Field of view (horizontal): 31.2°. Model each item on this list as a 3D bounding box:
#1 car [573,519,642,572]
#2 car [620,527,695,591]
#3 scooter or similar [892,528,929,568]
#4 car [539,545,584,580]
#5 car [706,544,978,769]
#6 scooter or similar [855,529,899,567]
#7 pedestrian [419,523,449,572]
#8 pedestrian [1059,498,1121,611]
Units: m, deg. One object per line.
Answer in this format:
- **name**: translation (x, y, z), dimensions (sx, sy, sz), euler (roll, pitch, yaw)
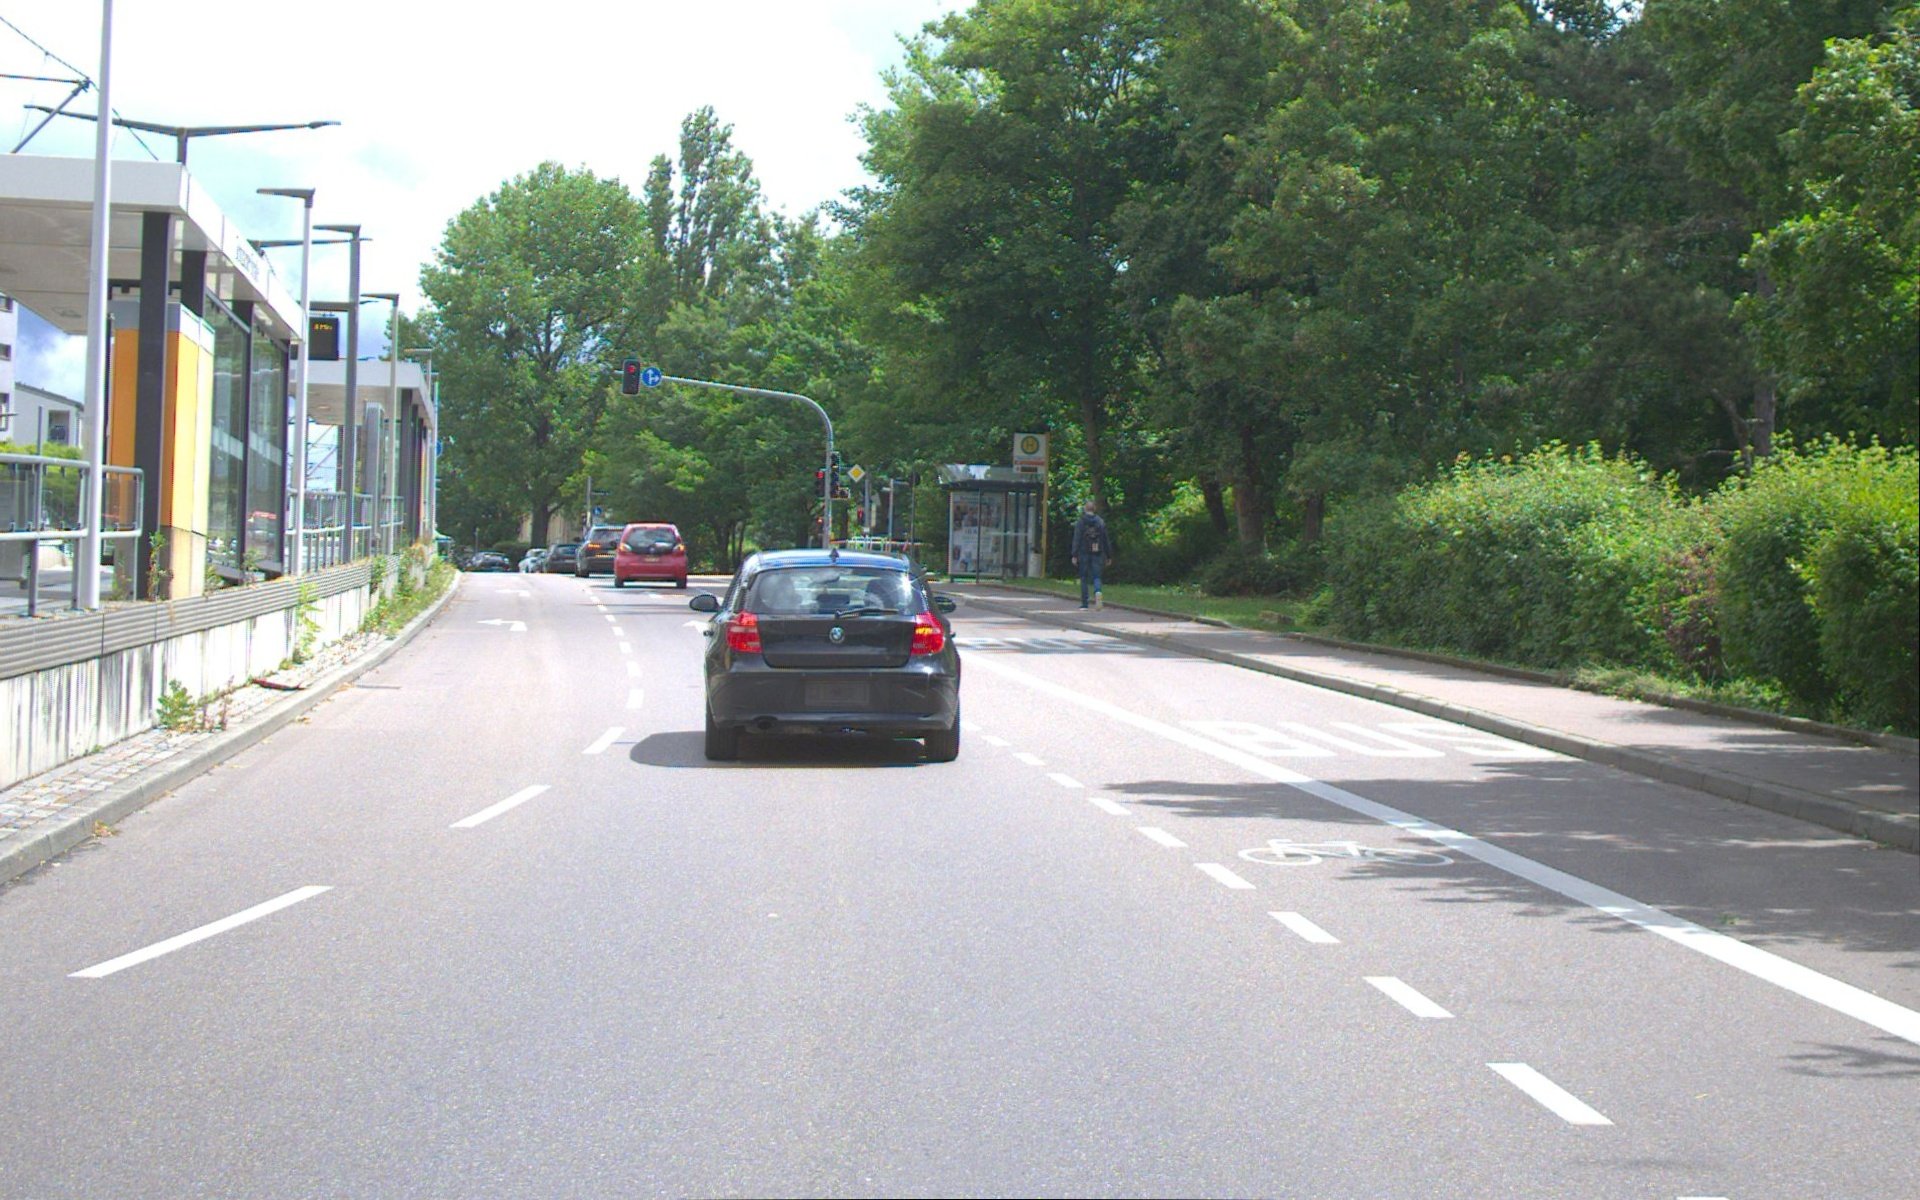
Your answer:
- **car**: translation (-9.629, -1.493, 93.682), dimensions (1.654, 1.414, 3.518), euler (1, 1, -9)
- **car**: translation (-6.897, -0.945, 78.146), dimensions (1.594, 1.414, 3.518), euler (1, 1, -7)
- **scooter or similar**: translation (-1.559, -1.640, 107.974), dimensions (1.106, 1.253, 0.332), euler (0, 1, -19)
- **car**: translation (-16.970, -1.590, 146.355), dimensions (1.654, 1.414, 3.517), euler (2, 1, -3)
- **car**: translation (-0.887, 0.338, 23.941), dimensions (1.654, 1.414, 3.518), euler (1, 1, -6)
- **scooter or similar**: translation (-2.590, -1.624, 107.059), dimensions (1.287, 1.185, 0.385), euler (0, 1, -23)
- **pedestrian**: translation (-15.482, -1.538, 101.191), dimensions (0.865, 1.437, 0.799), euler (1, 1, -10)
- **pedestrian**: translation (2.228, -0.788, 59.015), dimensions (0.801, 1.889, 1.271), euler (3, 1, -6)
